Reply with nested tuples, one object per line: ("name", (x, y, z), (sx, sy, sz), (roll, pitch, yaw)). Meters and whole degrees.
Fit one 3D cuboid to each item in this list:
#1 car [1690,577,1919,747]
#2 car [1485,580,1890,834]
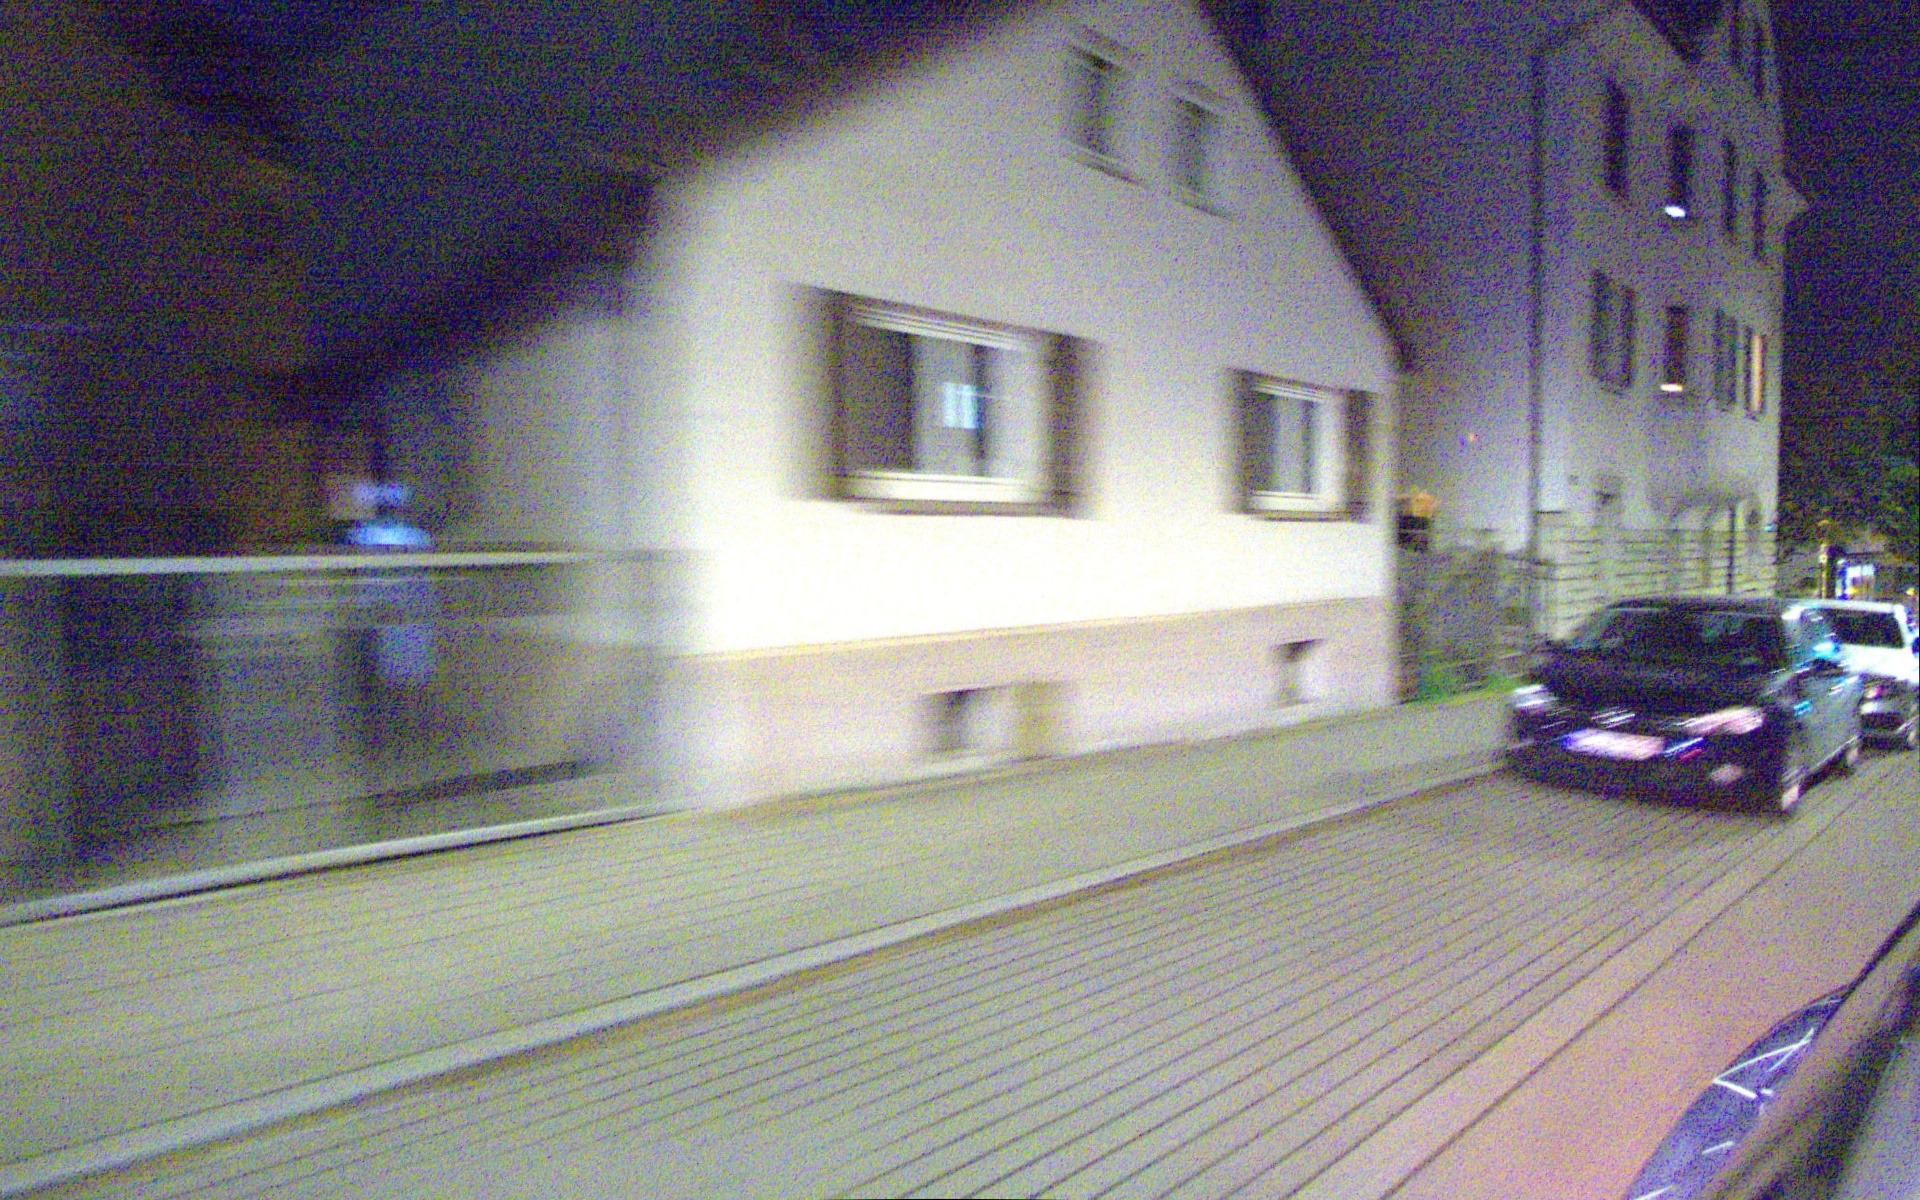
("car", (10.054, 0.529, 11.490), (4.566, 1.434, 1.849), (-2, 5, -42))
("car", (5.892, 0.603, 8.022), (3.950, 1.465, 1.774), (-1, 3, -42))
